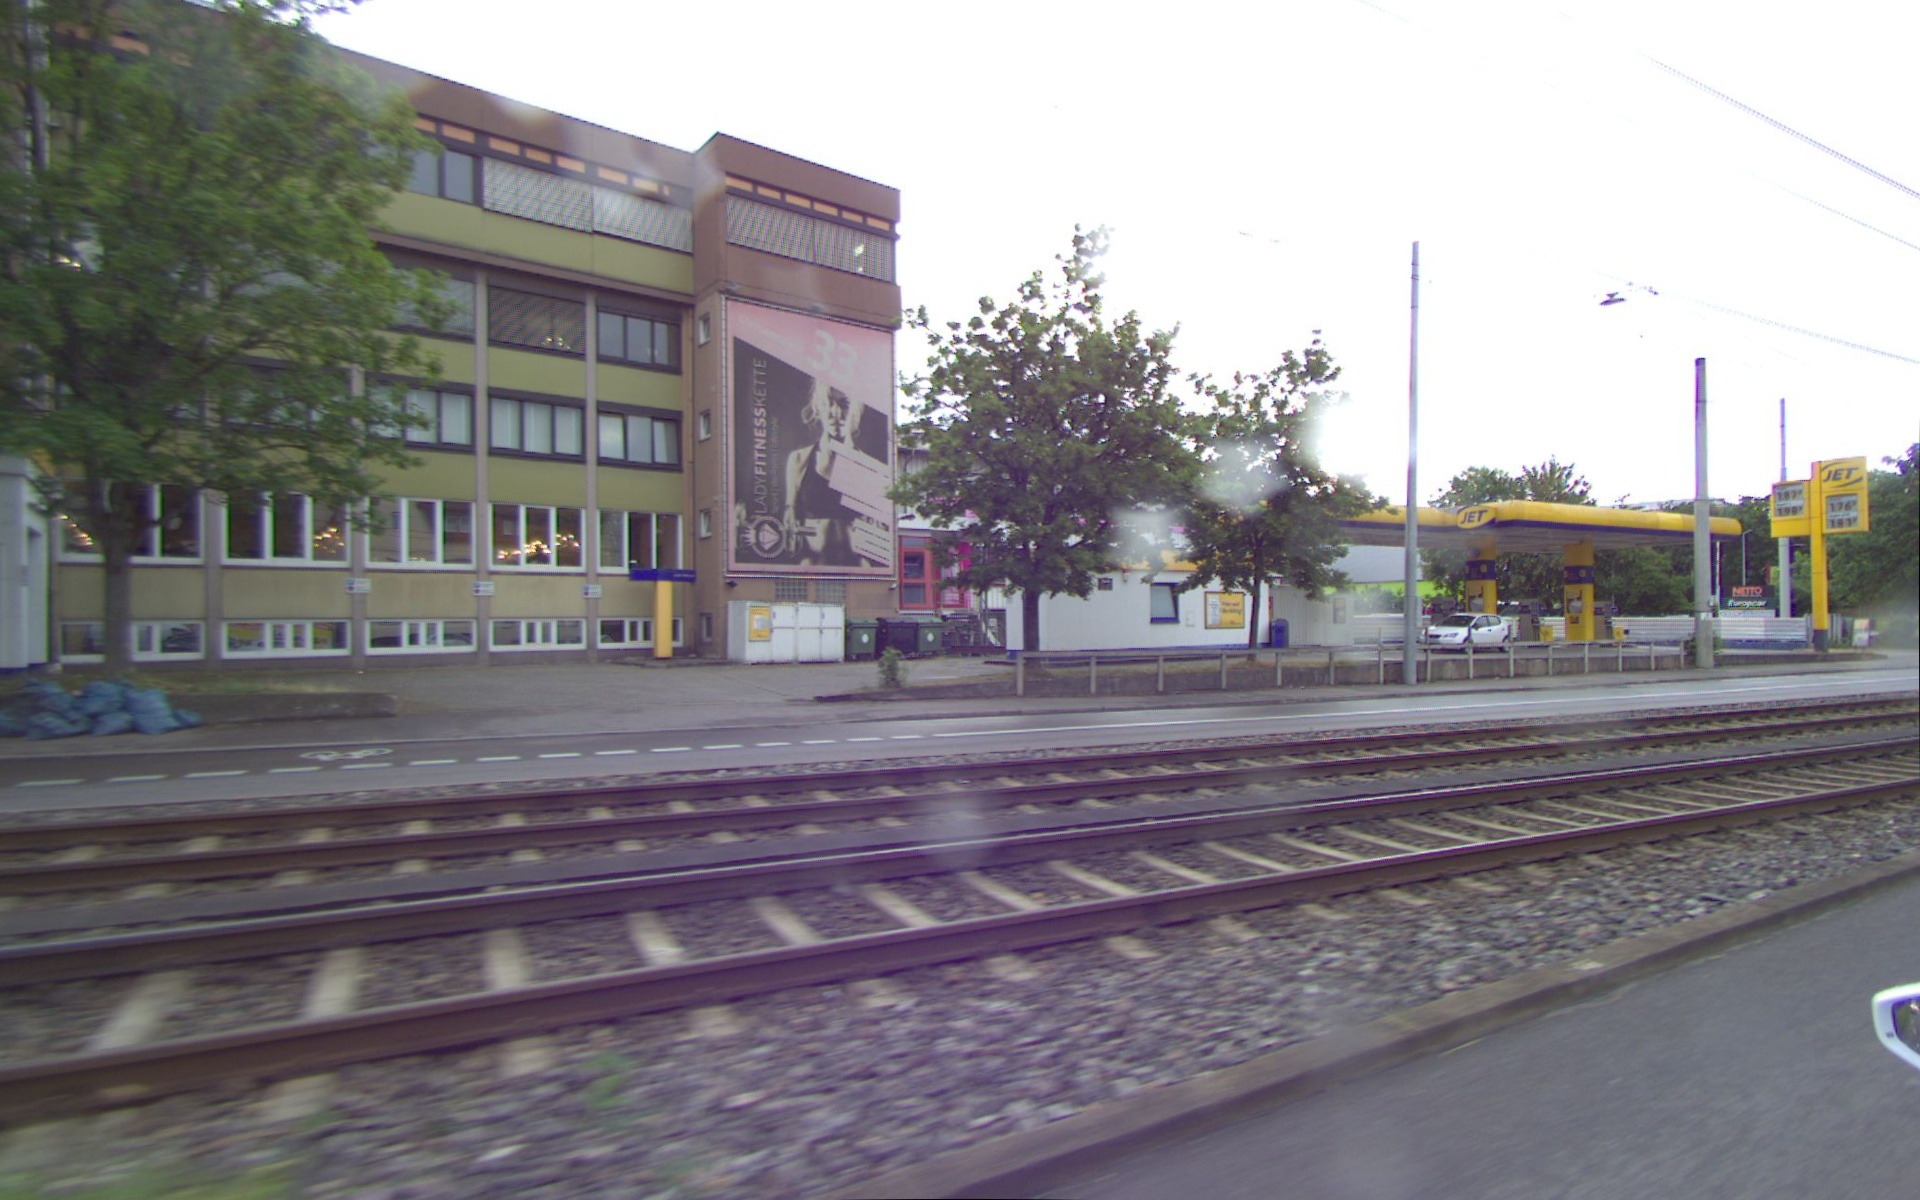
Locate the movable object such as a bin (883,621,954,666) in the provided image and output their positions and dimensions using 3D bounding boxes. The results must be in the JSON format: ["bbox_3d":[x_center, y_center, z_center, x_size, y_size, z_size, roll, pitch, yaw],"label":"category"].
[{"bbox_3d":[-1.414,1.433,33.821,1.556,1.394,1.978,0,1,-38],"label":"movable object such as a bin"}]

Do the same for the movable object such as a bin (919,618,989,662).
[{"bbox_3d":[-0.212,1.374,34.927,1.556,1.394,1.978,0,1,-38],"label":"movable object such as a bin"}]

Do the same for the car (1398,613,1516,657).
[{"bbox_3d":[18.272,1.292,36.910,3.953,1.461,1.984,2,0,-30],"label":"car"}]

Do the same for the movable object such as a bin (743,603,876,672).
[{"bbox_3d":[-4.576,1.091,30.682,3.540,1.945,1.978,0,1,-39],"label":"movable object such as a bin"}]

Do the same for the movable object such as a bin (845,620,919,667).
[{"bbox_3d":[-2.551,1.386,32.576,1.556,1.394,1.978,0,1,-38],"label":"movable object such as a bin"}]

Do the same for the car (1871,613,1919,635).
[{"bbox_3d":[92.823,2.411,99.161,1.983,2.040,3.955,2,0,-39],"label":"car"}]
